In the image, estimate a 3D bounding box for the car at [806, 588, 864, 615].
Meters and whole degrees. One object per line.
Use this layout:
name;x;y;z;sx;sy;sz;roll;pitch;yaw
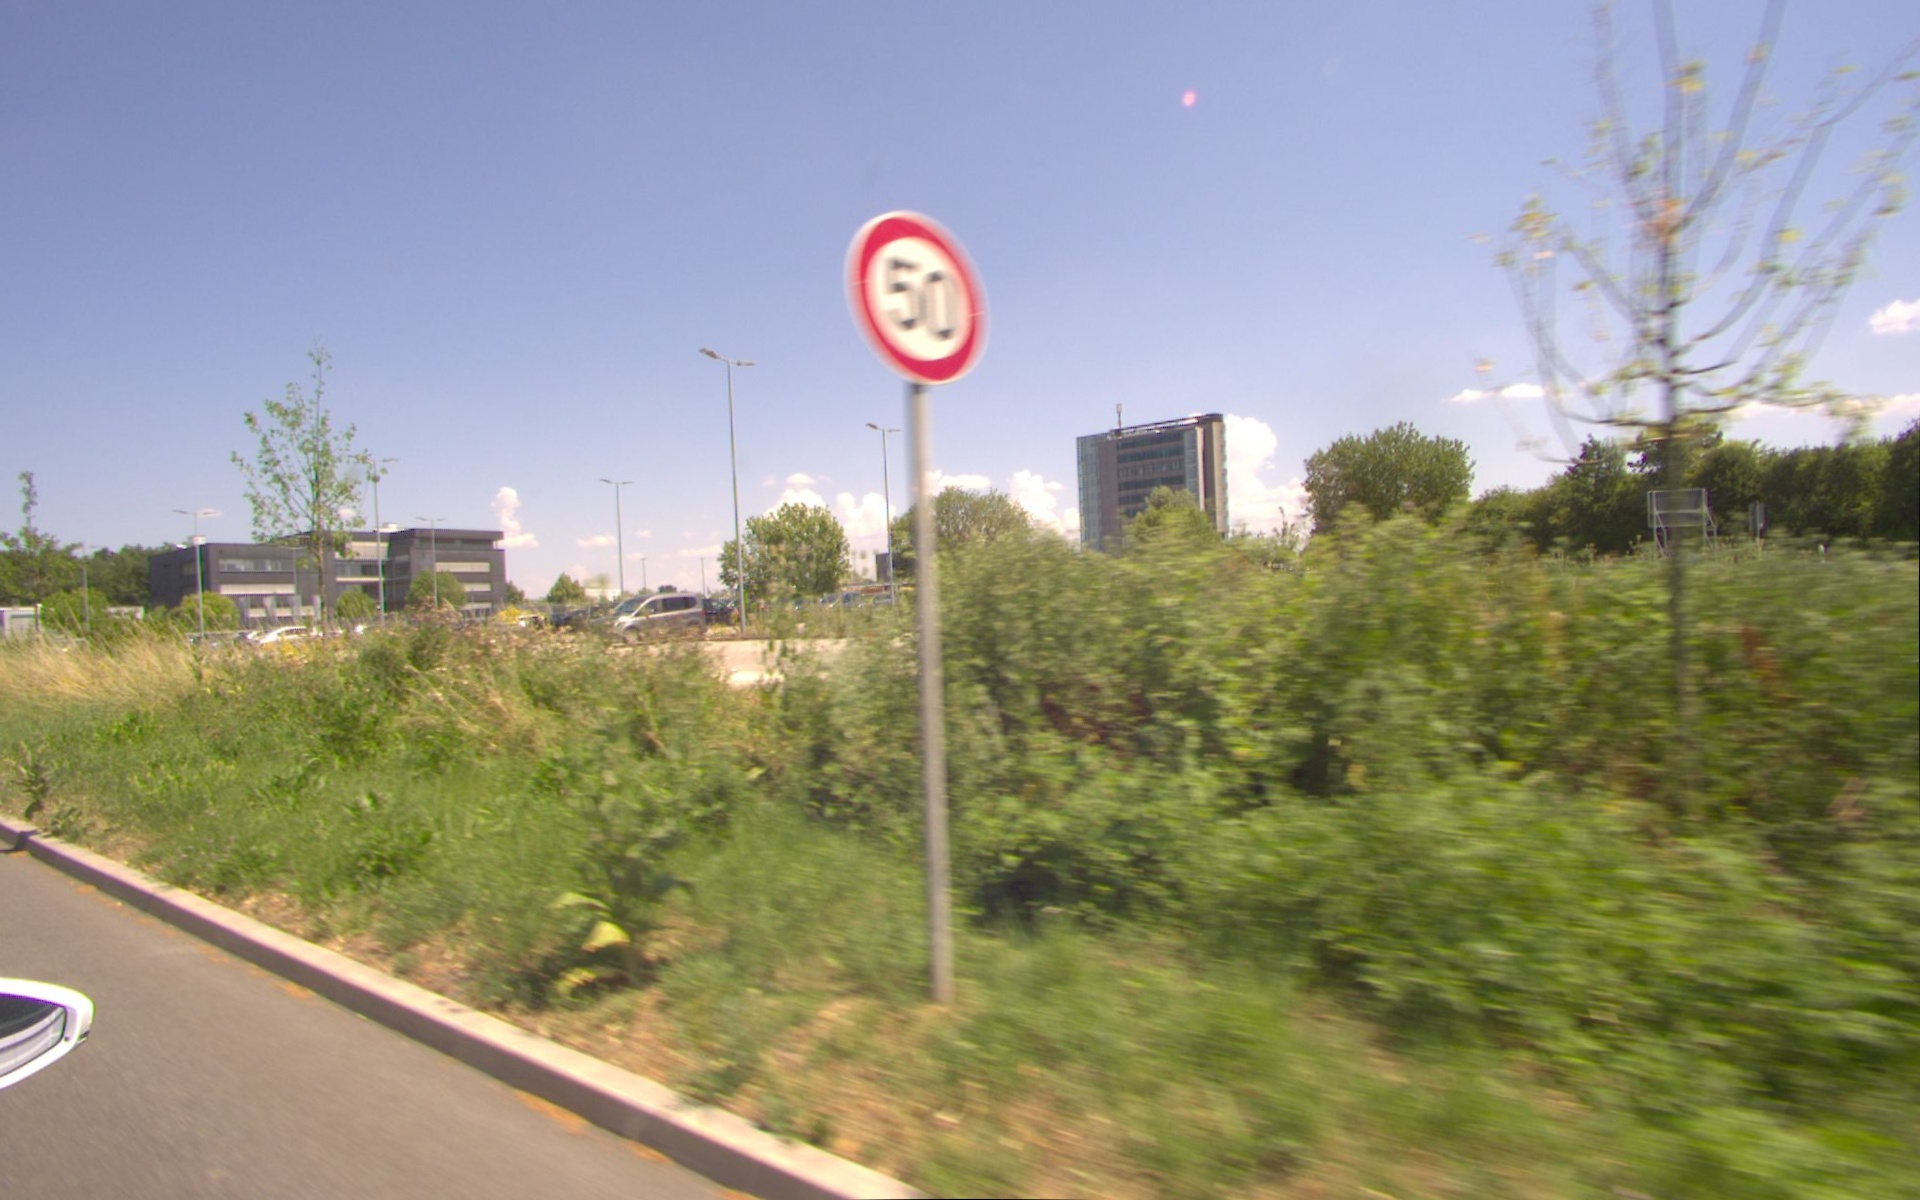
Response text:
car;-7.604;0.079;61.152;1.692;1.440;3.985;0;3;24

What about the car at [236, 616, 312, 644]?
car;-47.794;2.059;69.820;1.743;1.618;3.976;1;3;33

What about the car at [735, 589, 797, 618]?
car;-12.355;0.174;64.065;1.967;1.663;3.985;0;3;24

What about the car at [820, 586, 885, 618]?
car;-6.203;0.073;58.312;1.967;1.663;3.984;0;3;25

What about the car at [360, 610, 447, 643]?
car;-32.331;1.509;58.261;1.903;1.663;3.972;-3;0;36

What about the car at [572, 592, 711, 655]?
car;-11.283;0.800;35.756;1.914;1.941;4.447;-1;2;35

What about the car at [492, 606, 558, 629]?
car;-30.574;1.235;70.459;1.672;1.359;3.978;-3;0;32

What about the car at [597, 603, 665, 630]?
car;-20.680;1.011;63.050;1.709;1.485;3.786;1;3;32

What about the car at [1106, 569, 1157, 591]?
car;13.974;-1.641;81.774;3.923;1.549;1.875;-3;1;4

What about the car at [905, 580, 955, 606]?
car;-2.049;-0.498;70.471;1.967;1.663;3.985;0;3;24

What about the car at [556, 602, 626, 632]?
car;-23.720;1.084;64.466;1.967;1.663;3.985;0;3;24

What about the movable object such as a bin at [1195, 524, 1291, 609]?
movable object such as a bin;14.815;-1.814;53.051;2.929;4.101;8.098;-1;3;1
